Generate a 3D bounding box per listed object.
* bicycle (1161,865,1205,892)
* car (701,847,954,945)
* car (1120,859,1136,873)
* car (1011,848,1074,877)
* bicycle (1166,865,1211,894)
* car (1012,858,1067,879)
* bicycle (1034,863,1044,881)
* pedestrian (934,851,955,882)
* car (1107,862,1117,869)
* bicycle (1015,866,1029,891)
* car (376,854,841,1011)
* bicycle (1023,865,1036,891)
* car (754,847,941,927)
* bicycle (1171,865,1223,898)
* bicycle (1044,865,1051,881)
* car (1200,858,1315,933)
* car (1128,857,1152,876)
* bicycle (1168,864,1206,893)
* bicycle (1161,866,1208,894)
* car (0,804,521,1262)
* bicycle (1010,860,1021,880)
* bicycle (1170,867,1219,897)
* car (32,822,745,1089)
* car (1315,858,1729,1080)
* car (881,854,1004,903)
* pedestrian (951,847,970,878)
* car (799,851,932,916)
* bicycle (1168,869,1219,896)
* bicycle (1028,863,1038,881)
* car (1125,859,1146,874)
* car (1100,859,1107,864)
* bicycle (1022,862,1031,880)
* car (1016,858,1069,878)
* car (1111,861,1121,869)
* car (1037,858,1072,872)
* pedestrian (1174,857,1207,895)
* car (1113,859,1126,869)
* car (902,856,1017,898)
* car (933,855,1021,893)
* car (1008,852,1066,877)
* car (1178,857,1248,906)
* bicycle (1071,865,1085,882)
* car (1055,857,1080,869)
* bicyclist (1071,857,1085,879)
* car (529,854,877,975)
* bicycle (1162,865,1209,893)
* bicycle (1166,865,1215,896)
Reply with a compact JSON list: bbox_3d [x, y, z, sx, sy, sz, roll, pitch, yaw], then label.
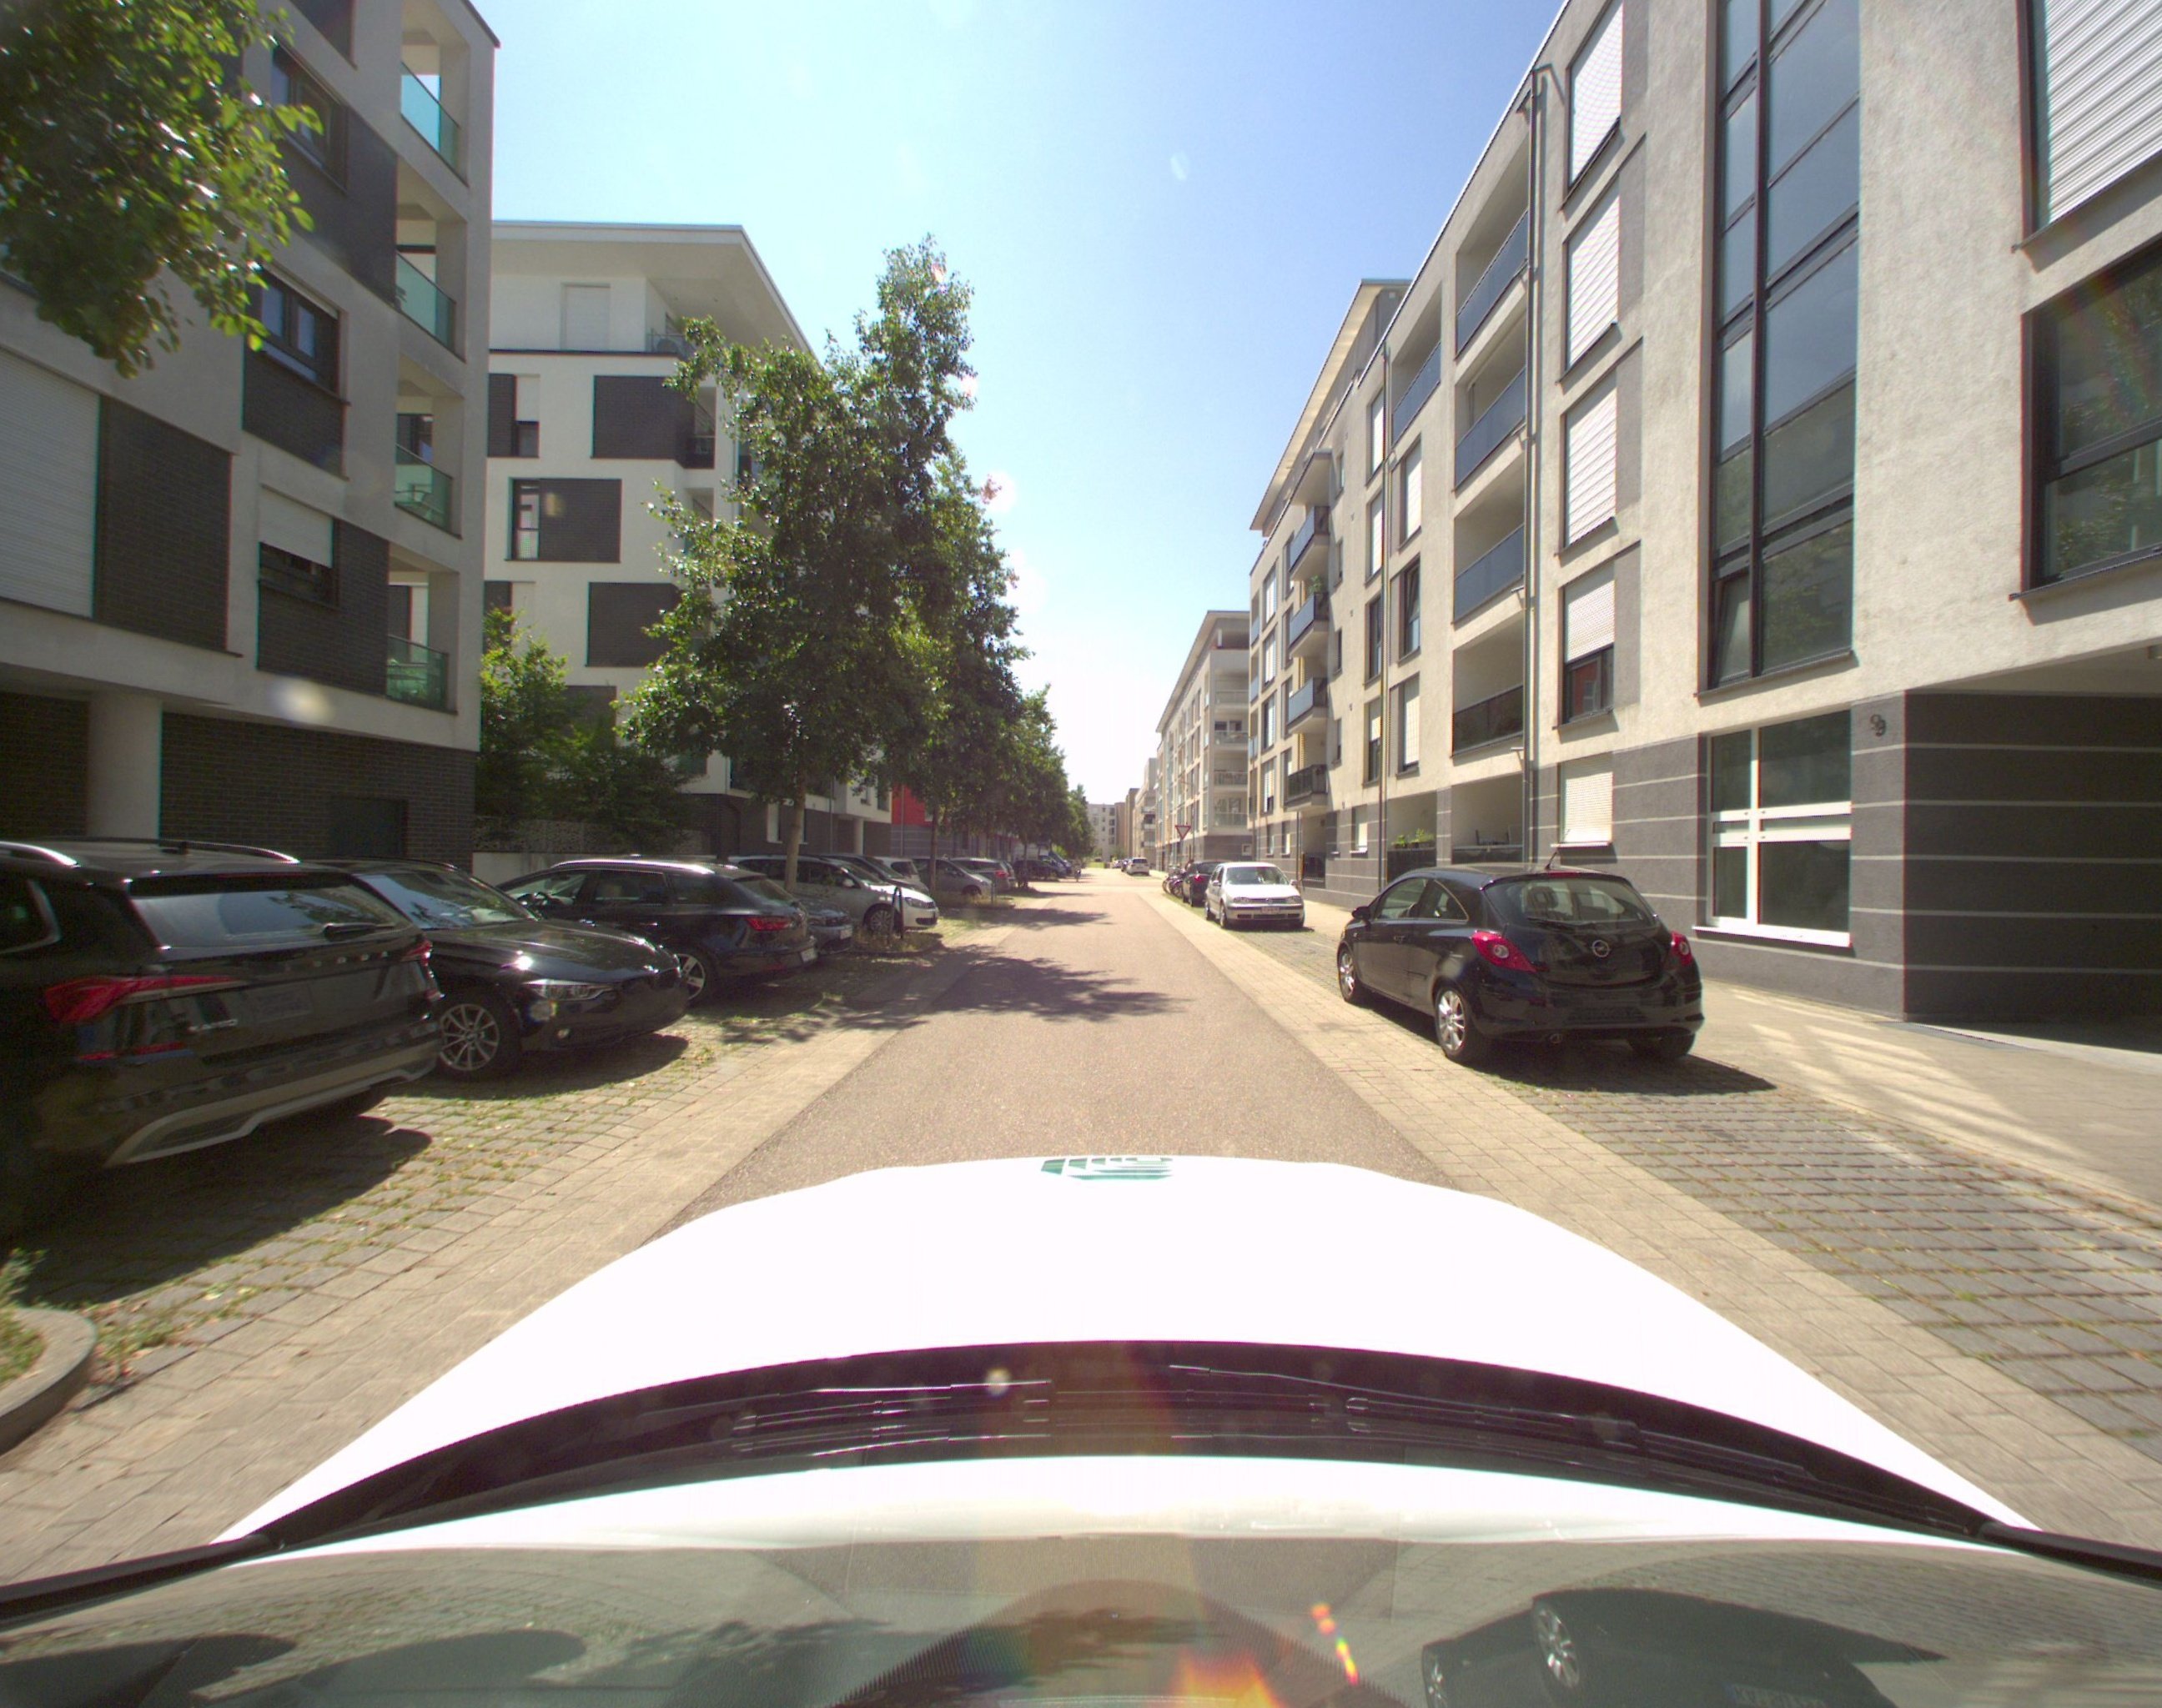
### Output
[{"bbox_3d":[4.488,1.071,35.946,1.851,1.193,0.688,-1,-1,4],"label":"bicycle"},{"bbox_3d":[-4.844,0.783,16.097,4.348,1.710,1.999,-1,0,-2],"label":"car"},{"bbox_3d":[5.493,1.358,94.807,1.749,1.552,4.005,1,0,5],"label":"car"},{"bbox_3d":[-3.756,0.814,80.240,6.002,2.816,2.605,0,-1,1],"label":"car"},{"bbox_3d":[4.444,1.046,33.583,1.838,1.148,0.458,0,-1,-18],"label":"bicycle"},{"bbox_3d":[-3.427,1.180,67.610,4.367,1.515,2.075,2,0,1],"label":"car"},{"bbox_3d":[-2.953,1.266,57.478,0.569,1.174,1.765,3,1,-6],"label":"bicycle"},{"bbox_3d":[-7.643,0.689,45.739,0.996,1.690,0.832,0,-1,2],"label":"pedestrian"},{"bbox_3d":[6.994,2.667,184.646,1.987,1.519,3.999,0,0,0],"label":"car"},{"bbox_3d":[-2.827,1.166,38.960,0.434,1.128,1.971,0,-1,-11],"label":"bicycle"},{"bbox_3d":[-4.906,0.794,8.950,3.965,1.445,1.773,2,-1,-3],"label":"car"},{"bbox_3d":[-2.467,1.139,38.983,0.371,1.180,1.814,0,-1,-11],"label":"bicycle"},{"bbox_3d":[-5.185,0.727,18.517,3.701,1.586,1.818,2,-1,-4],"label":"car"},{"bbox_3d":[4.387,1.039,30.897,1.865,1.218,0.715,-1,-1,-3],"label":"bicycle"},{"bbox_3d":[-2.359,1.325,57.689,0.464,1.141,1.925,0,0,-1],"label":"bicycle"},{"bbox_3d":[3.945,0.864,18.936,1.827,1.505,4.351,-1,0,1],"label":"car"},{"bbox_3d":[5.363,1.110,74.695,1.990,1.657,4.117,0,0,2],"label":"car"},{"bbox_3d":[4.580,1.055,35.235,1.546,1.218,0.707,-1,-1,-1],"label":"bicycle"},{"bbox_3d":[4.320,1.075,33.950,1.911,1.133,0.611,-1,-1,10],"label":"bicycle"},{"bbox_3d":[-5.391,0.590,3.916,3.973,1.629,1.933,2,0,1],"label":"car"},{"bbox_3d":[-4.610,1.106,57.553,0.591,1.331,1.813,0,1,2],"label":"bicycle"},{"bbox_3d":[4.394,1.077,31.643,1.782,1.104,0.746,-1,-1,-3],"label":"bicycle"},{"bbox_3d":[-5.083,0.673,6.438,3.971,1.651,1.919,2,0,2],"label":"car"},{"bbox_3d":[3.564,0.784,7.549,1.637,1.462,4.118,-1,0,1],"label":"car"},{"bbox_3d":[-4.807,0.829,28.680,3.924,1.553,1.872,2,0,0],"label":"car"},{"bbox_3d":[-8.039,0.555,54.441,1.004,2.014,1.130,0,-1,4],"label":"pedestrian"},{"bbox_3d":[-5.616,0.756,21.526,2.923,1.500,1.848,3,0,0],"label":"car"},{"bbox_3d":[4.462,1.128,32.336,1.919,1.035,0.559,-1,-1,-3],"label":"bicycle"},{"bbox_3d":[-3.385,1.232,57.490,0.432,1.204,1.700,2,1,2],"label":"bicycle"},{"bbox_3d":[5.652,1.302,85.222,1.987,1.524,4.000,0,0,0],"label":"car"},{"bbox_3d":[6.190,2.080,226.800,1.987,1.519,3.999,0,0,0],"label":"car"},{"bbox_3d":[-3.842,1.220,57.749,0.517,1.204,1.752,2,1,-1],"label":"bicycle"},{"bbox_3d":[-3.294,1.227,70.160,4.367,1.542,1.878,2,0,1],"label":"car"},{"bbox_3d":[7.253,2.310,170.579,1.987,1.717,3.999,0,0,0],"label":"car"},{"bbox_3d":[-3.118,1.361,97.433,3.970,1.618,2.002,0,-1,3],"label":"car"},{"bbox_3d":[4.447,0.867,33.128,1.178,1.515,0.686,0,-1,-9],"label":"pedestrian"},{"bbox_3d":[6.750,1.702,143.356,1.987,1.675,3.999,0,0,0],"label":"car"},{"bbox_3d":[-4.643,0.881,31.575,4.170,1.486,1.957,1,-2,-3],"label":"car"},{"bbox_3d":[-4.624,0.878,36.494,3.617,1.520,1.832,2,-1,1],"label":"car"},{"bbox_3d":[-4.015,0.980,74.808,5.127,2.119,2.312,1,0,1],"label":"car"},{"bbox_3d":[4.321,0.861,27.253,1.732,1.485,4.230,0,0,1],"label":"car"},{"bbox_3d":[-0.197,1.277,54.509,0.895,1.129,2.040,0,0,1],"label":"bicycle"},{"bbox_3d":[-2.361,1.457,139.074,3.965,2.014,2.004,0,-1,7],"label":"car"},{"bbox_3d":[-0.189,0.905,54.589,0.950,1.459,0.800,0,-1,0],"label":"bicyclist"},{"bbox_3d":[-5.169,0.789,11.561,3.972,1.422,1.898,2,0,2],"label":"car"},{"bbox_3d":[4.433,1.065,34.554,1.911,1.179,0.640,-1,-1,10],"label":"bicycle"},{"bbox_3d":[4.443,1.058,32.999,1.922,1.218,0.459,0,-1,-8],"label":"bicycle"}]
